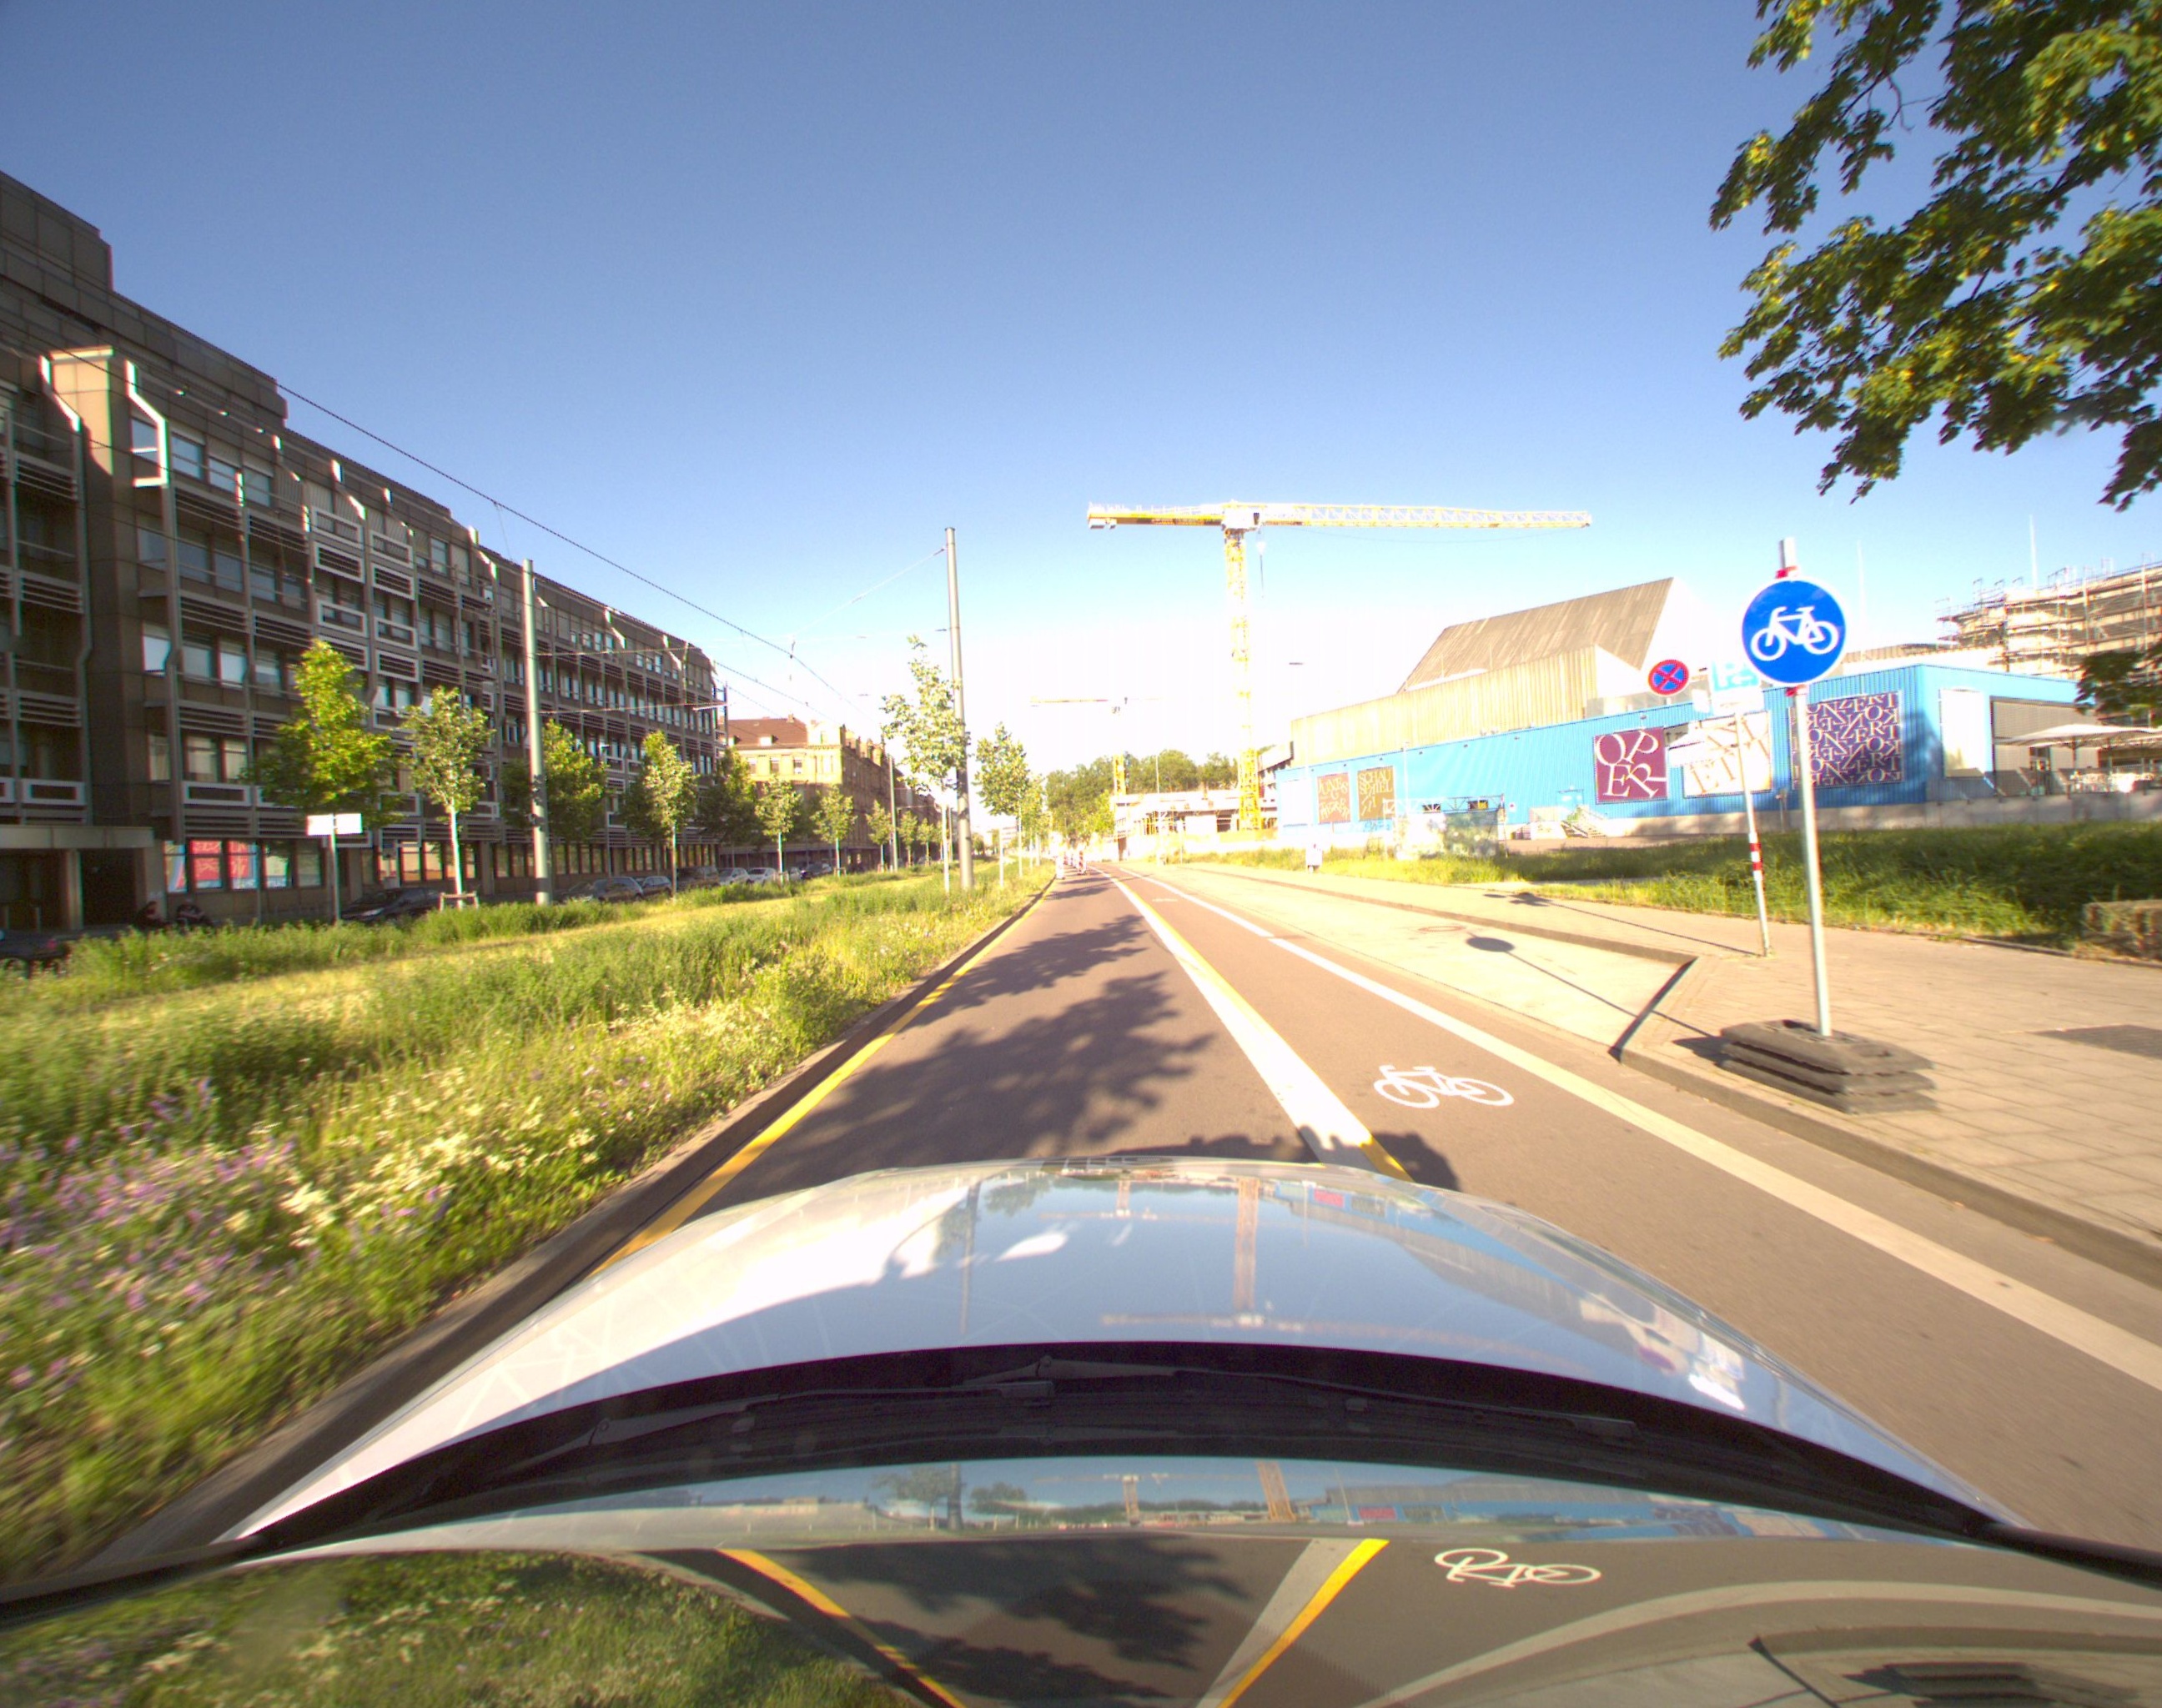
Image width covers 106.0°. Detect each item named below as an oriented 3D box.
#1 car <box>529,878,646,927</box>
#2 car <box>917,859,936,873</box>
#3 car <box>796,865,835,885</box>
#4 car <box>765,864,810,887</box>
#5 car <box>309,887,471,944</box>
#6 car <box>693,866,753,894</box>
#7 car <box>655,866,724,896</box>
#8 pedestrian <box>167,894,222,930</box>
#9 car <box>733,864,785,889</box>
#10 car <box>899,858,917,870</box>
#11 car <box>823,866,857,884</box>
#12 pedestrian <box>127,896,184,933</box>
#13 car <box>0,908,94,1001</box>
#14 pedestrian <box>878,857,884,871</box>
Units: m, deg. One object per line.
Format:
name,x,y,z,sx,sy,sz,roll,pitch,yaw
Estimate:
car,-19.679,1.877,32.708,1.896,1.575,4.303,-3,0,2
car,-19.641,1.471,103.665,1.901,1.575,4.293,-3,0,-5
car,-23.797,1.877,73.116,1.896,1.575,4.303,-3,0,2
car,-23.549,1.717,65.512,1.896,1.575,4.303,-3,0,2
car,-24.349,2.126,28.954,1.896,1.575,4.303,-3,0,2
car,-23.562,1.664,53.761,1.896,1.575,4.303,-3,0,2
car,-23.631,1.582,49.335,1.896,1.575,4.303,-3,0,2
pedestrian,-31.242,2.038,28.718,0.896,1.169,0.900,-3,0,3
car,-23.511,1.600,59.566,1.896,1.575,4.303,-3,0,2
car,-25.498,1.422,120.233,1.901,1.575,4.293,-3,0,-5
car,-23.883,2.035,80.994,1.896,1.575,4.303,-3,0,2
pedestrian,-31.408,2.046,27.642,0.896,1.169,0.866,-3,0,3
car,-20.549,1.929,13.894,1.896,1.575,4.412,-3,0,2
pedestrian,-28.460,1.399,115.956,0.549,1.947,0.649,-3,0,-6
